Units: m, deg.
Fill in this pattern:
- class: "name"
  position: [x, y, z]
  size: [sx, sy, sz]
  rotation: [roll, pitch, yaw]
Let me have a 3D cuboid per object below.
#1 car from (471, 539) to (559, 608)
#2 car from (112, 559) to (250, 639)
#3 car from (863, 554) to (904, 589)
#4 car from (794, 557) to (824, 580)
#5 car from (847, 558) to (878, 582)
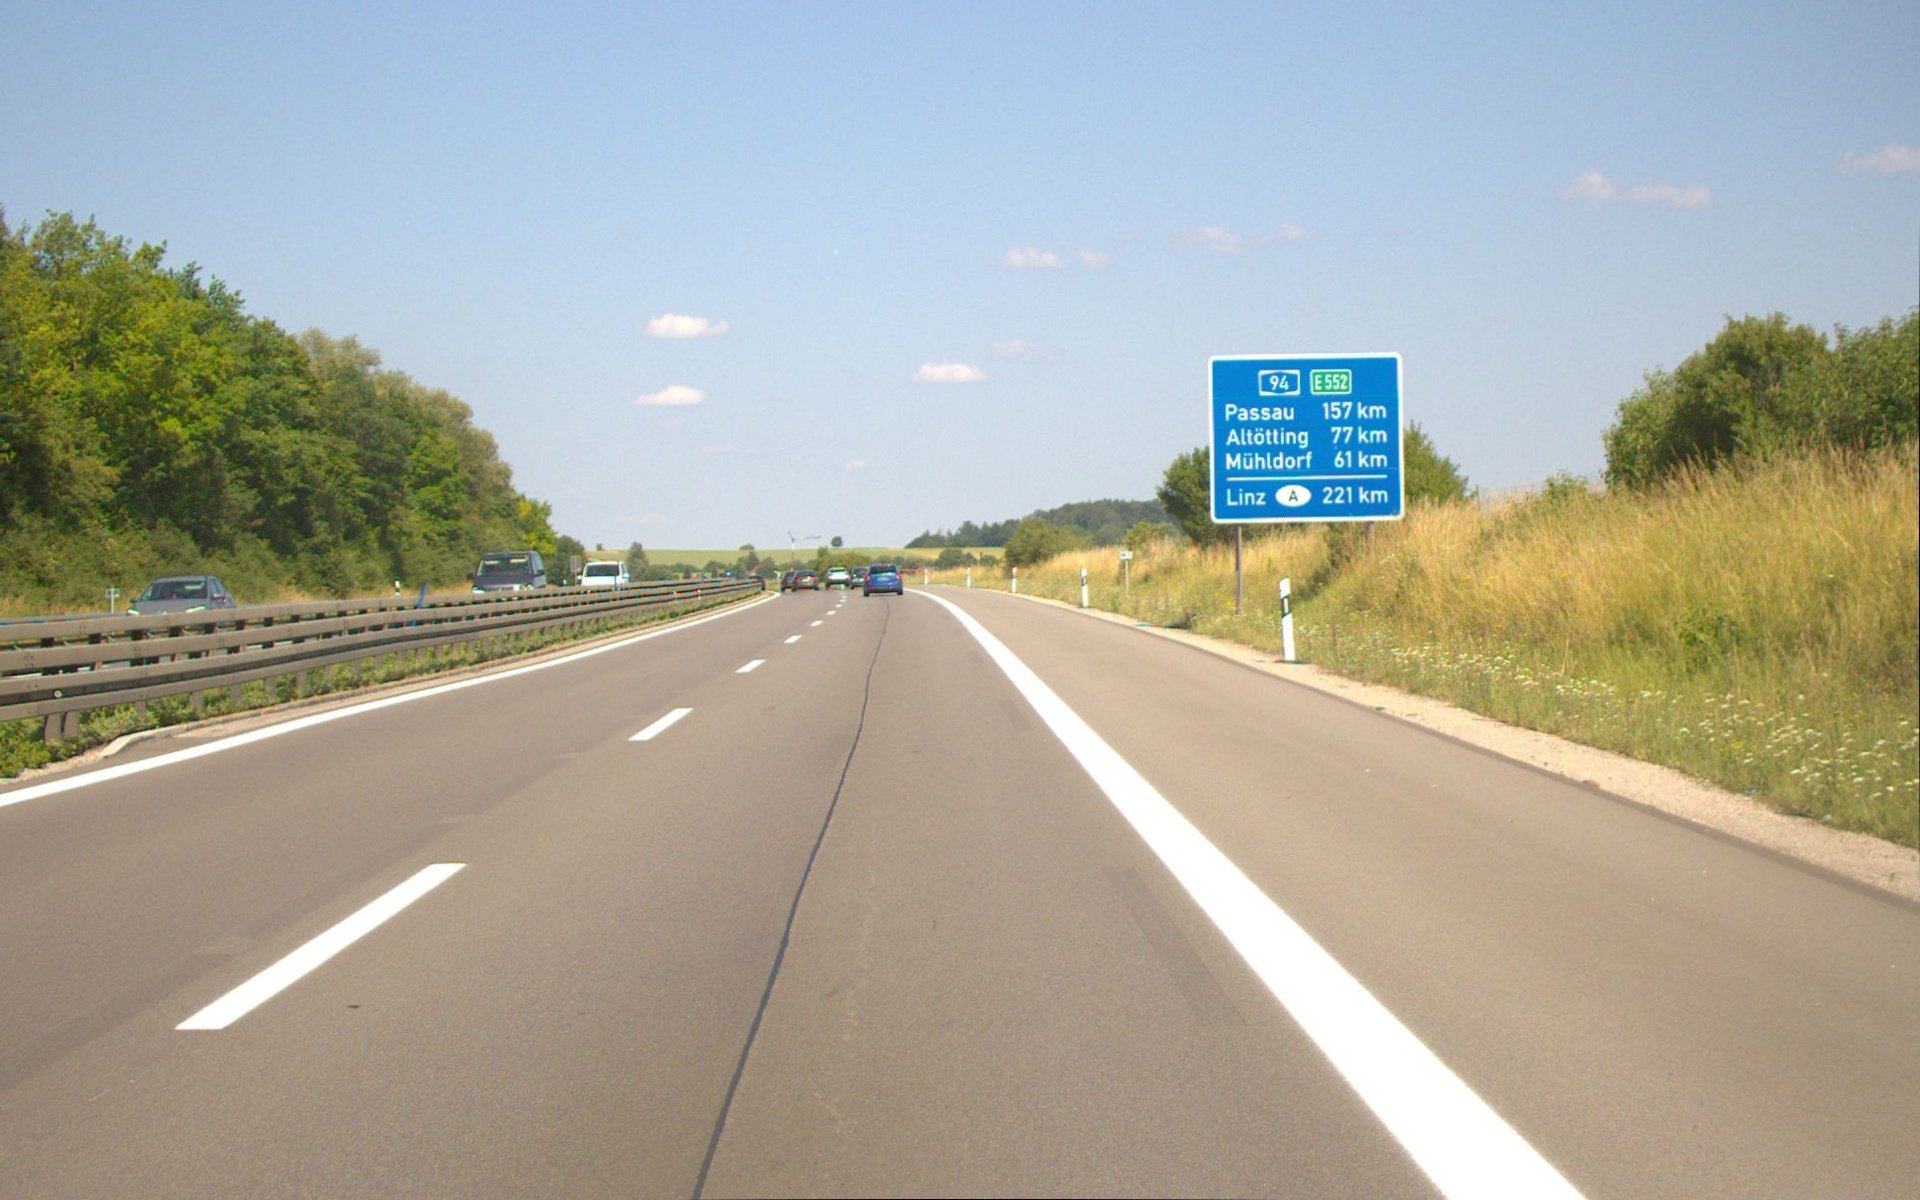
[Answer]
- class: "car"
  position: [-13.271, -0.828, 102.796]
  size: [1.993, 1.966, 5.039]
  rotation: [-1, 1, -1]
- class: "car"
  position: [-16.797, -0.049, 74.327]
  size: [1.993, 1.606, 4.488]
  rotation: [-1, 1, -1]
- class: "car"
  position: [-3.429, -1.281, 154.600]
  size: [1.676, 1.448, 3.592]
  rotation: [-3, 0, 1]
- class: "car"
  position: [-10.284, -2.146, 233.694]
  size: [1.829, 1.448, 3.592]
  rotation: [-3, 0, 0]
- class: "car"
  position: [-6.221, -1.881, 218.727]
  size: [1.829, 1.448, 3.592]
  rotation: [-3, 0, 0]
